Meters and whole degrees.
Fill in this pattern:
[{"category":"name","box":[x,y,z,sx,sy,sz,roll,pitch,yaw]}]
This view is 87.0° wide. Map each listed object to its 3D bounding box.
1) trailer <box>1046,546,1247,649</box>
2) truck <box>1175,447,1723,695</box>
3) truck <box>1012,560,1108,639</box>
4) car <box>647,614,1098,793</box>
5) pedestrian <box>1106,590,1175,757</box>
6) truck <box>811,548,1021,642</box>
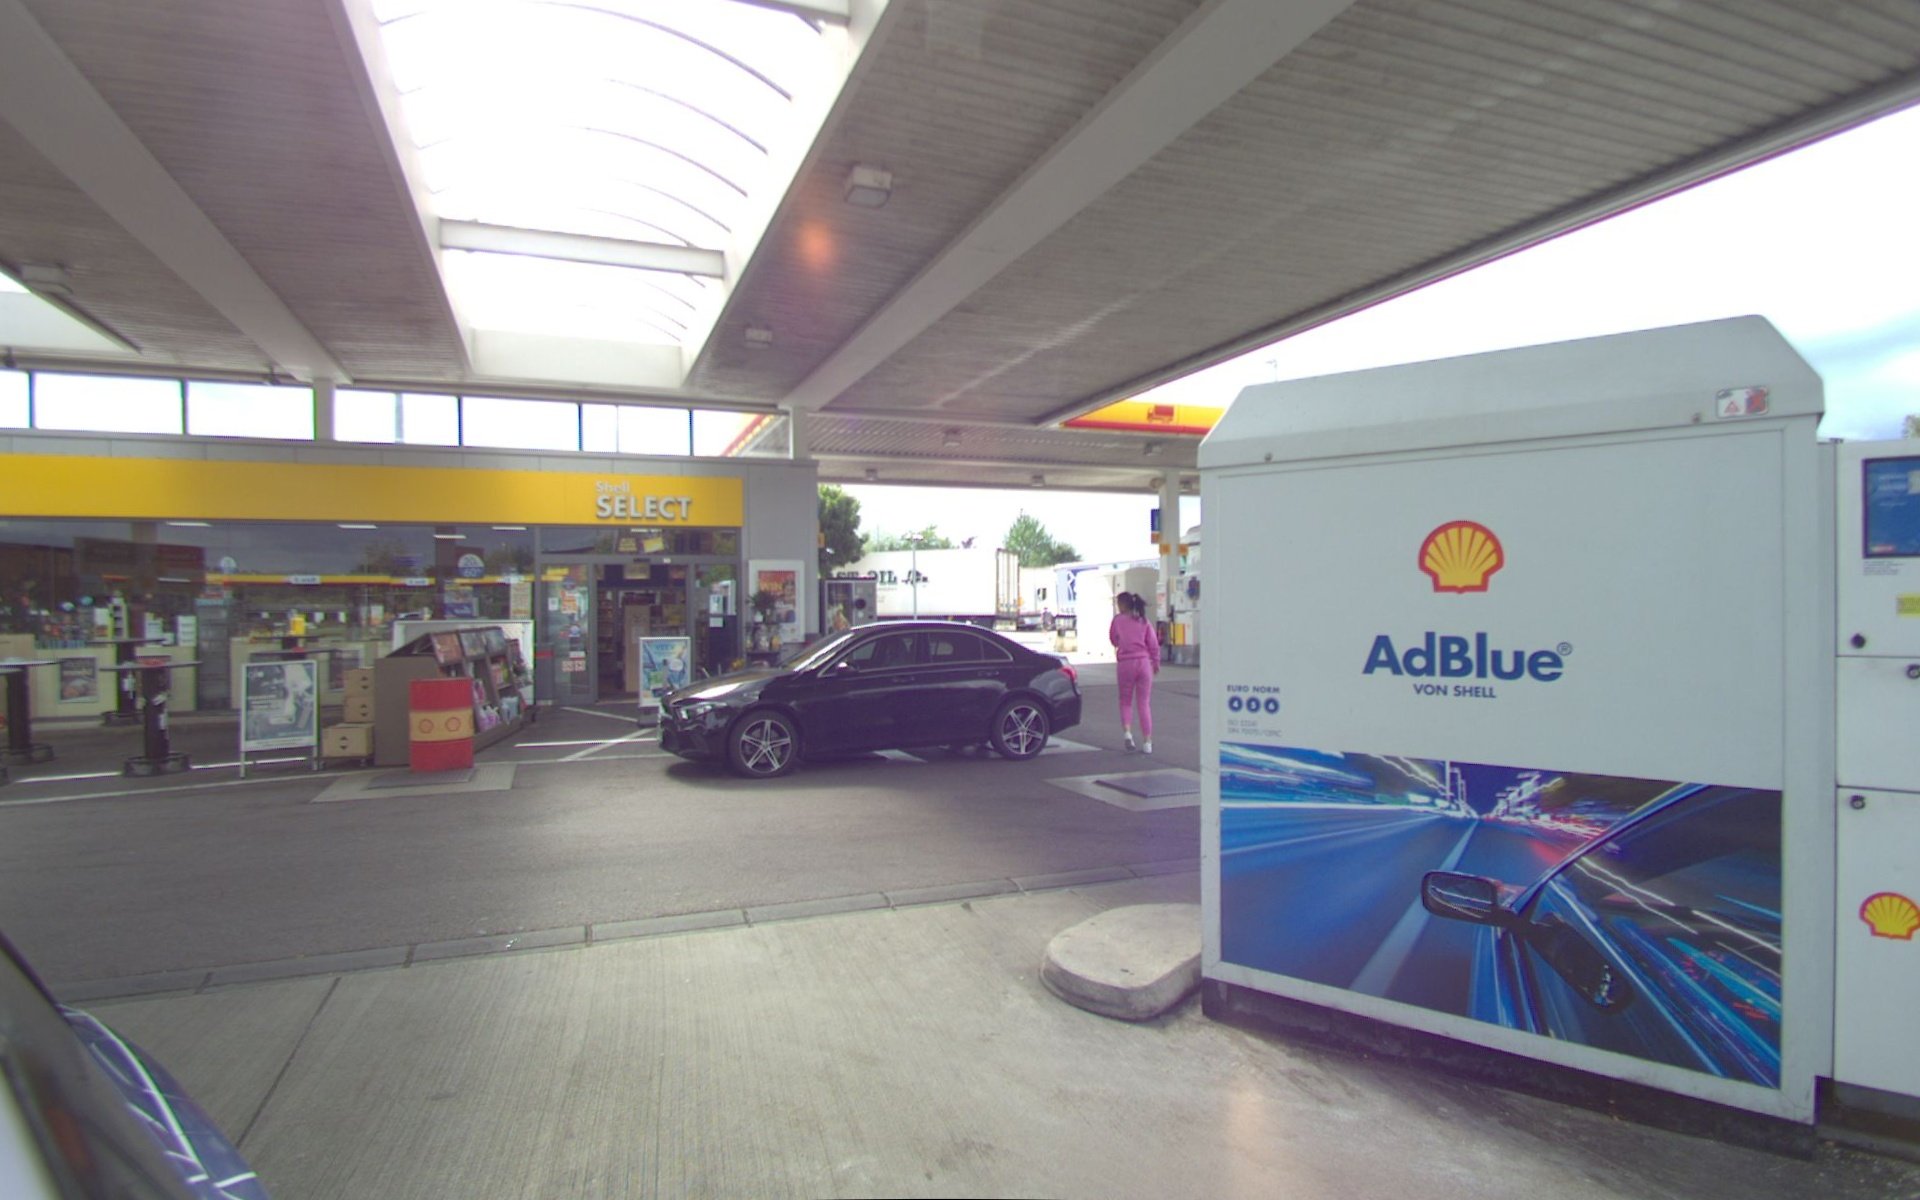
[{"category":"trailer","box":[9.097,-0.095,52.676,3.294,4.600,14.397,-1,0,-20]},{"category":"truck","box":[9.649,-0.460,23.105,2.491,4.069,12.947,-1,0,-22]},{"category":"truck","box":[5.919,-0.045,61.224,3.333,4.538,6.249,-1,0,-20]},{"category":"car","box":[-0.933,0.945,10.681,4.394,1.511,1.785,-1,0,-21]},{"category":"pedestrian","box":[1.906,0.759,10.766,0.619,1.726,0.622,-1,0,3]},{"category":"truck","box":[-2.111,-0.178,46.842,9.536,4.036,2.772,-1,0,25]}]
